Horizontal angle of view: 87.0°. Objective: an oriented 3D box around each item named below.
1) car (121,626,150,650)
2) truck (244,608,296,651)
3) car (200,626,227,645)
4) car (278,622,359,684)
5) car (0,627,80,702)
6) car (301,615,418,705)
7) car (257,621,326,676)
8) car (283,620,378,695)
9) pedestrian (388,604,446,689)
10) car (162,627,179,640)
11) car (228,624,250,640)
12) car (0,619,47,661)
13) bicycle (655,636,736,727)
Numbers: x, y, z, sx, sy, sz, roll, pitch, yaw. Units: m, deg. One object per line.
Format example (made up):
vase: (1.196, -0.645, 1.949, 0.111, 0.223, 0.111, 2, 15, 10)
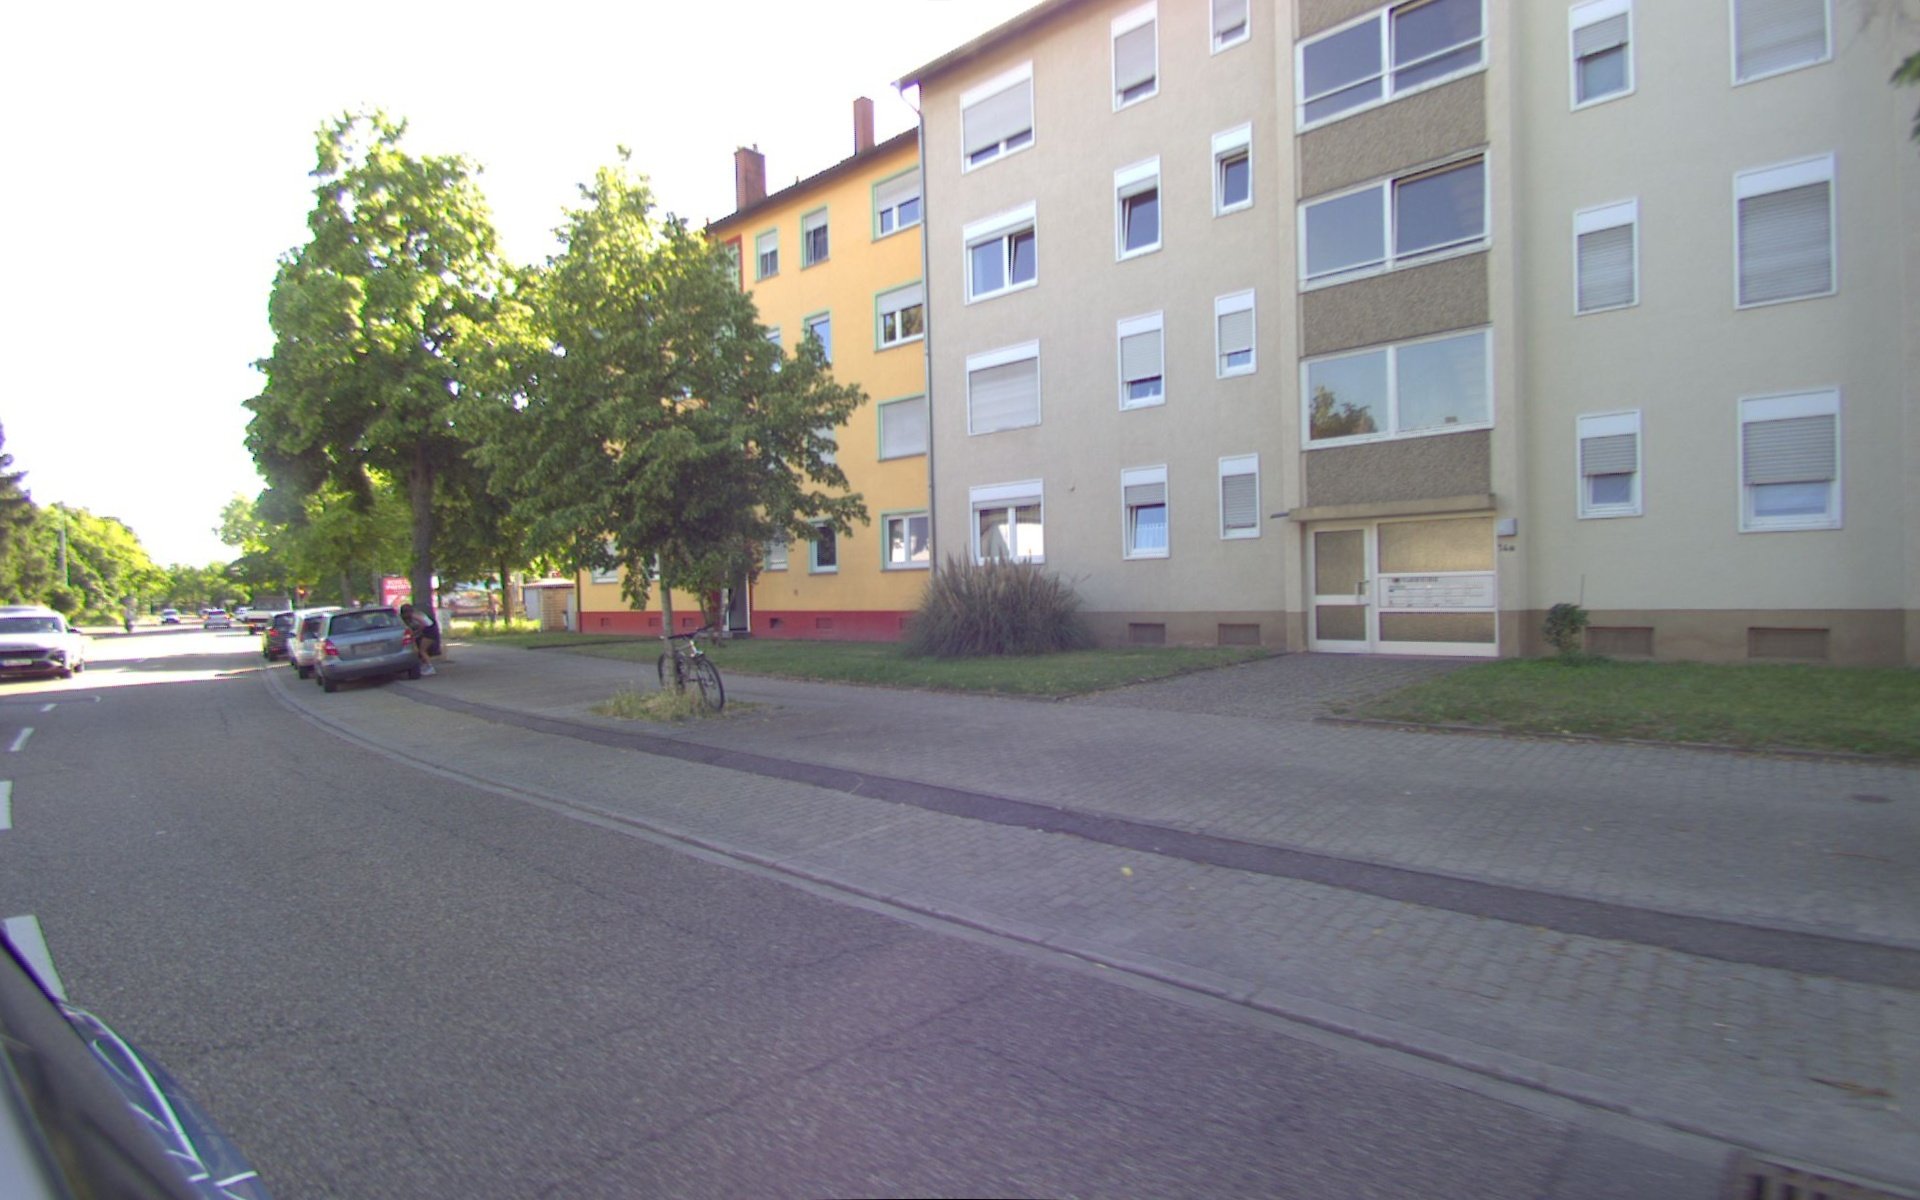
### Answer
car: (-60.188, 2.772, 73.866, 1.616, 1.590, 3.710, -2, -1, -40)
truck: (-41.179, 1.750, 60.478, 2.374, 2.384, 4.538, -2, 0, -32)
car: (-60.220, 2.848, 81.640, 1.524, 1.476, 3.710, -2, -1, -40)
car: (-17.742, 1.418, 27.926, 1.626, 1.551, 3.712, -2, -1, -36)
car: (-21.931, 1.477, 23.928, 1.557, 1.590, 3.710, -2, -1, -40)
car: (-11.870, 1.117, 19.908, 1.626, 1.551, 3.712, -2, -1, -36)
car: (-20.827, 1.470, 31.466, 1.626, 1.551, 3.712, -2, -1, -36)
car: (-14.912, 1.303, 23.883, 1.626, 1.551, 3.712, -2, -1, -36)
pedestrian: (-11.023, 0.929, 20.556, 0.945, 1.641, 0.735, -2, 0, -24)
car: (-97.265, 4.132, 124.675, 1.524, 1.476, 3.710, -2, -1, -40)
car: (-70.293, 3.146, 98.645, 1.524, 1.476, 3.710, -2, -1, -40)
car: (-38.121, 1.621, 40.925, 1.616, 1.590, 3.710, -2, -1, -40)
bicycle: (-3.195, 0.967, 12.193, 0.353, 1.015, 1.200, -3, 0, -44)
